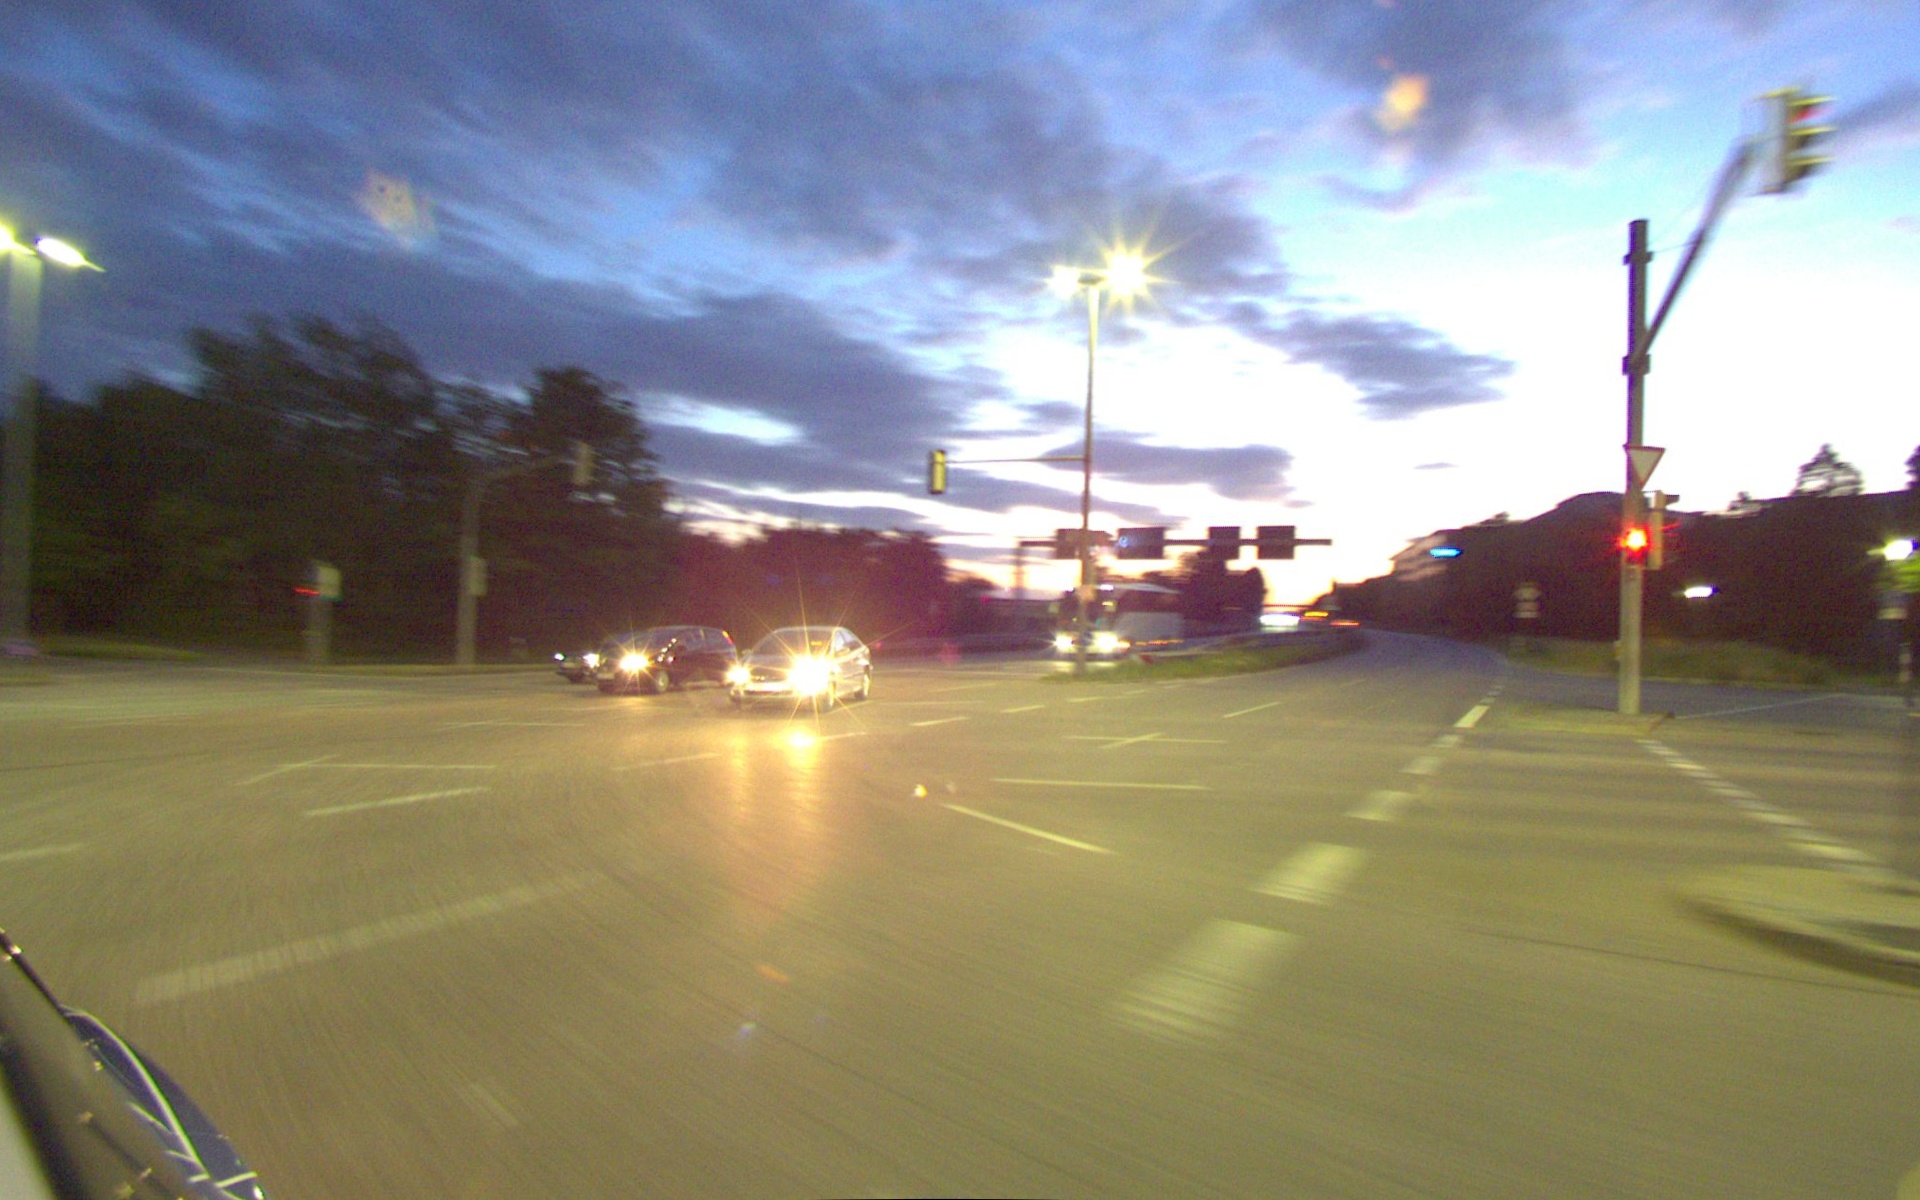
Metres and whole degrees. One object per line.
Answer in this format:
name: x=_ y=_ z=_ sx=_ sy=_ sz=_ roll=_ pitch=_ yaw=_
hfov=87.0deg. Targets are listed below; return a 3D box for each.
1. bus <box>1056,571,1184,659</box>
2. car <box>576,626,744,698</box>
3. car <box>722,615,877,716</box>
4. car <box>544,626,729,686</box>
bus: x=8.179 y=0.791 z=49.935 sx=2.602 sy=3.819 sz=12.163 roll=-1 pitch=-2 yaw=27
car: x=-6.759 y=1.349 z=23.171 sx=1.661 sy=1.492 sz=3.745 roll=-1 pitch=-1 yaw=24
car: x=-2.865 y=1.143 z=19.014 sx=1.652 sy=1.665 sz=4.399 roll=-1 pitch=-2 yaw=8
car: x=-8.604 y=1.451 z=27.208 sx=1.796 sy=1.454 sz=4.470 roll=-2 pitch=-2 yaw=42
